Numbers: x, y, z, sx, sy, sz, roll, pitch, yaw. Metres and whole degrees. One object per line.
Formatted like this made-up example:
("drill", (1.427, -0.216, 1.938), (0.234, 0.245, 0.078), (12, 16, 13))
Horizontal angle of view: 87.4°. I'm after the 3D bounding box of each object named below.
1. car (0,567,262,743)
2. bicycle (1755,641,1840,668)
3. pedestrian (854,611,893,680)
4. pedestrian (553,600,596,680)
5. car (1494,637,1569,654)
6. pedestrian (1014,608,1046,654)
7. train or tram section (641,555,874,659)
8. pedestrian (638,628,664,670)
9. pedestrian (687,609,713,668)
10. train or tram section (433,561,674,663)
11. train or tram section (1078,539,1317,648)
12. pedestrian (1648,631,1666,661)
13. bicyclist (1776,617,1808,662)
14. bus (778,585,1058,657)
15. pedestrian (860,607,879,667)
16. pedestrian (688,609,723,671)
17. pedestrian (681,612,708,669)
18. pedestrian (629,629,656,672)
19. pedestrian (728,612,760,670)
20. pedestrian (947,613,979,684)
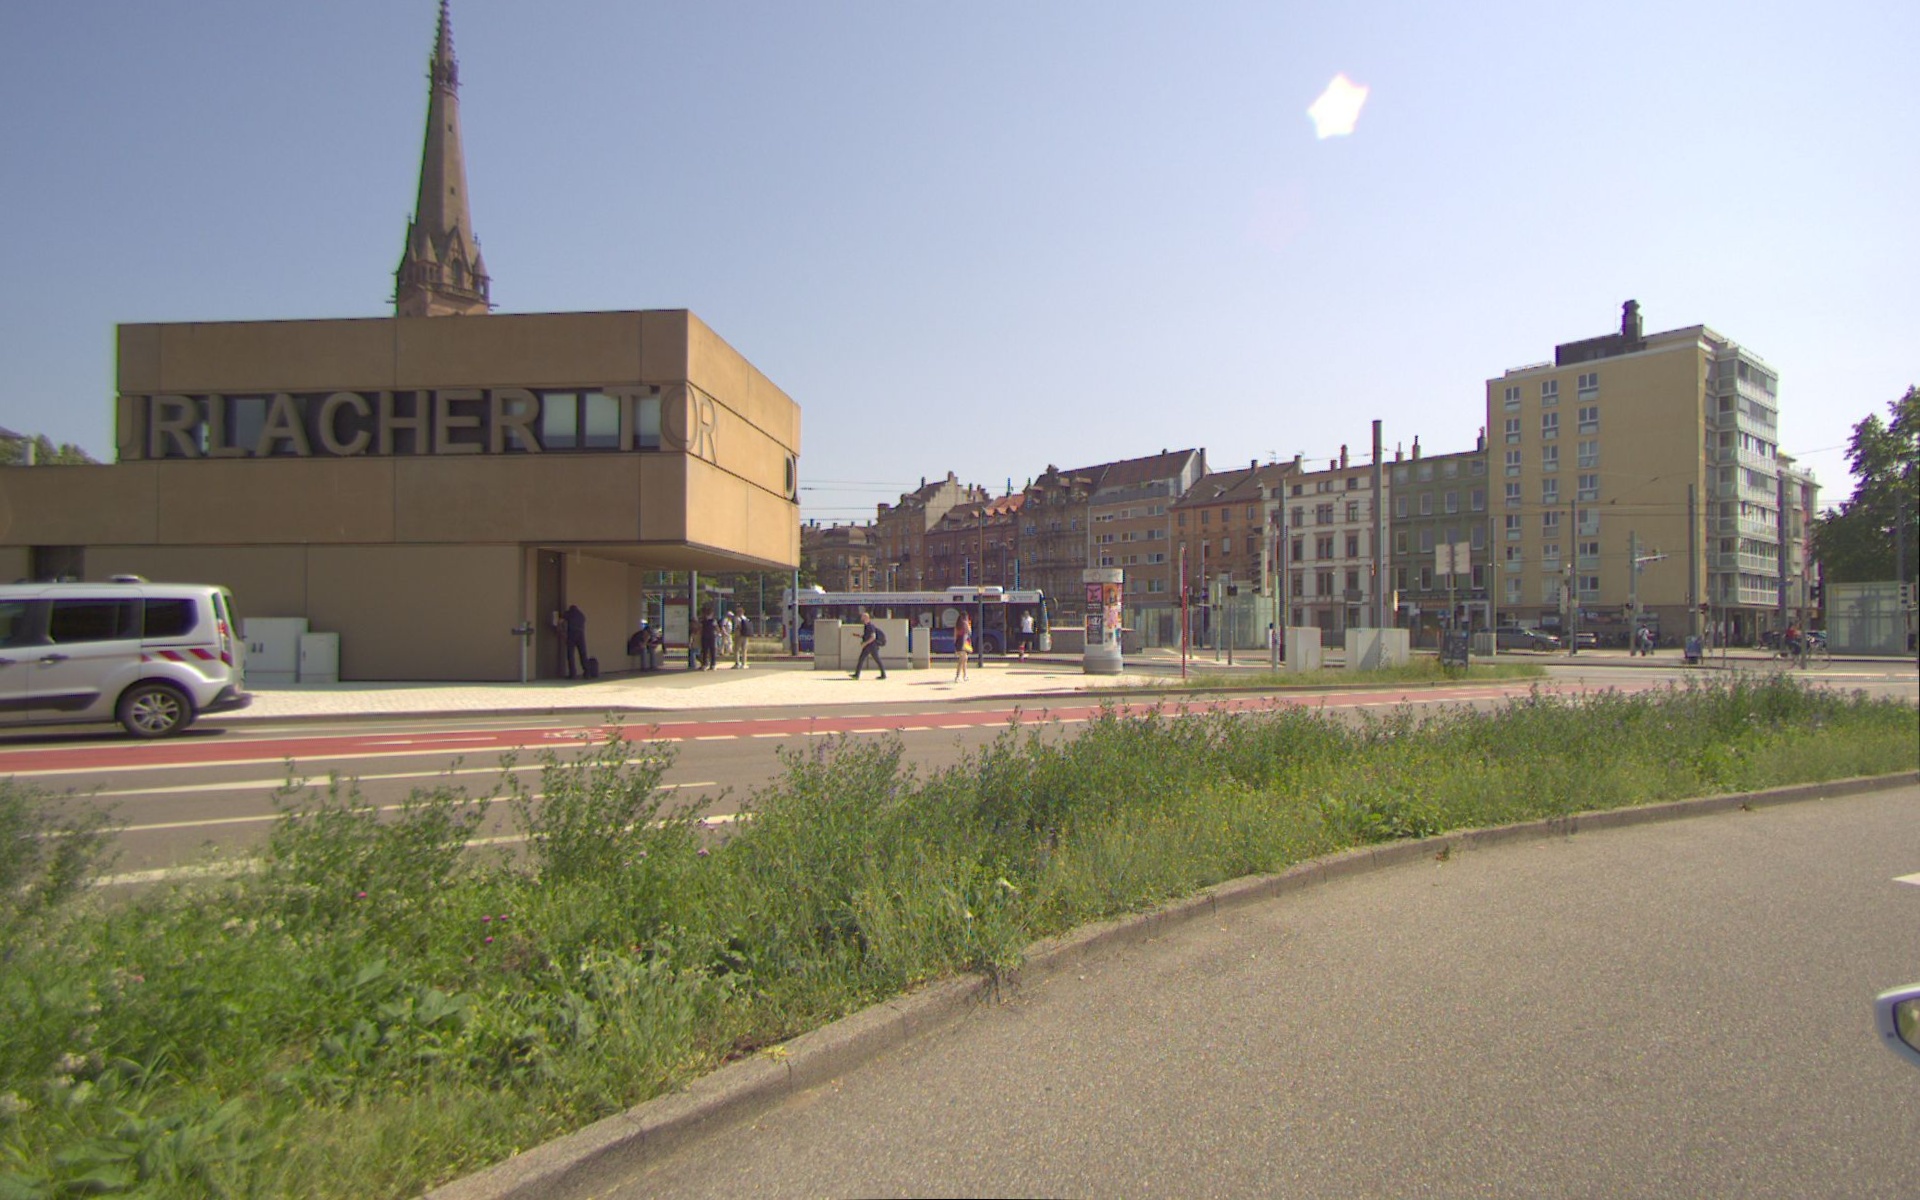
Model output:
("car", (-10.739, 0.646, 11.617), (4.288, 1.884, 1.982), (1, -4, -34))
("bicycle", (31.697, 2.037, 38.045), (0.598, 0.966, 2.390), (1, -2, -38))
("pedestrian", (-2.214, 1.156, 25.687), (0.799, 1.725, 0.642), (1, -1, -28))
("pedestrian", (-8.482, 0.876, 22.103), (0.740, 1.711, 0.626), (1, -1, -35))
("car", (36.427, 2.874, 64.061), (1.704, 1.000, 3.845), (2, -2, -43))
("pedestrian", (2.999, 1.324, 42.781), (1.284, 1.910, 1.039), (0, -2, 7))
("train or tram section", (-7.576, 0.356, 38.183), (8.078, 3.616, 3.147), (-1, -3, 5))
("pedestrian", (-8.212, 1.297, 26.726), (0.490, 1.098, 0.541), (0, -1, 5))
("pedestrian", (-7.342, 1.080, 28.372), (0.501, 1.635, 0.491), (0, -1, 29))
("train or tram section", (-15.598, 0.542, 38.875), (8.078, 3.616, 3.147), (-1, -3, 5))
("train or tram section", (8.467, -0.131, 36.803), (8.078, 3.616, 3.147), (-1, -3, 5))
("pedestrian", (39.612, 2.607, 57.104), (0.807, 1.654, 0.643), (1, -2, -38))
("bicyclist", (31.610, 1.500, 38.180), (0.601, 1.664, 0.832), (1, -1, -39))
("bus", (-1.760, 0.939, 45.133), (12.230, 3.111, 3.109), (0, -1, 6))
("pedestrian", (-2.752, 1.127, 30.461), (0.541, 1.786, 0.696), (0, -1, -8))
("pedestrian", (-6.897, 1.077, 27.228), (0.679, 1.635, 0.639), (0, -1, 11))
("pedestrian", (-7.782, 1.187, 29.458), (0.560, 1.635, 0.491), (0, -1, 19))
("pedestrian", (-8.255, 1.300, 26.162), (0.490, 1.098, 0.541), (0, -1, 5))
("pedestrian", (-6.416, 1.209, 29.820), (0.799, 1.691, 0.547), (1, -1, -28))
("pedestrian", (0.082, 1.189, 25.118), (0.615, 1.725, 0.787), (1, 1, 13))
